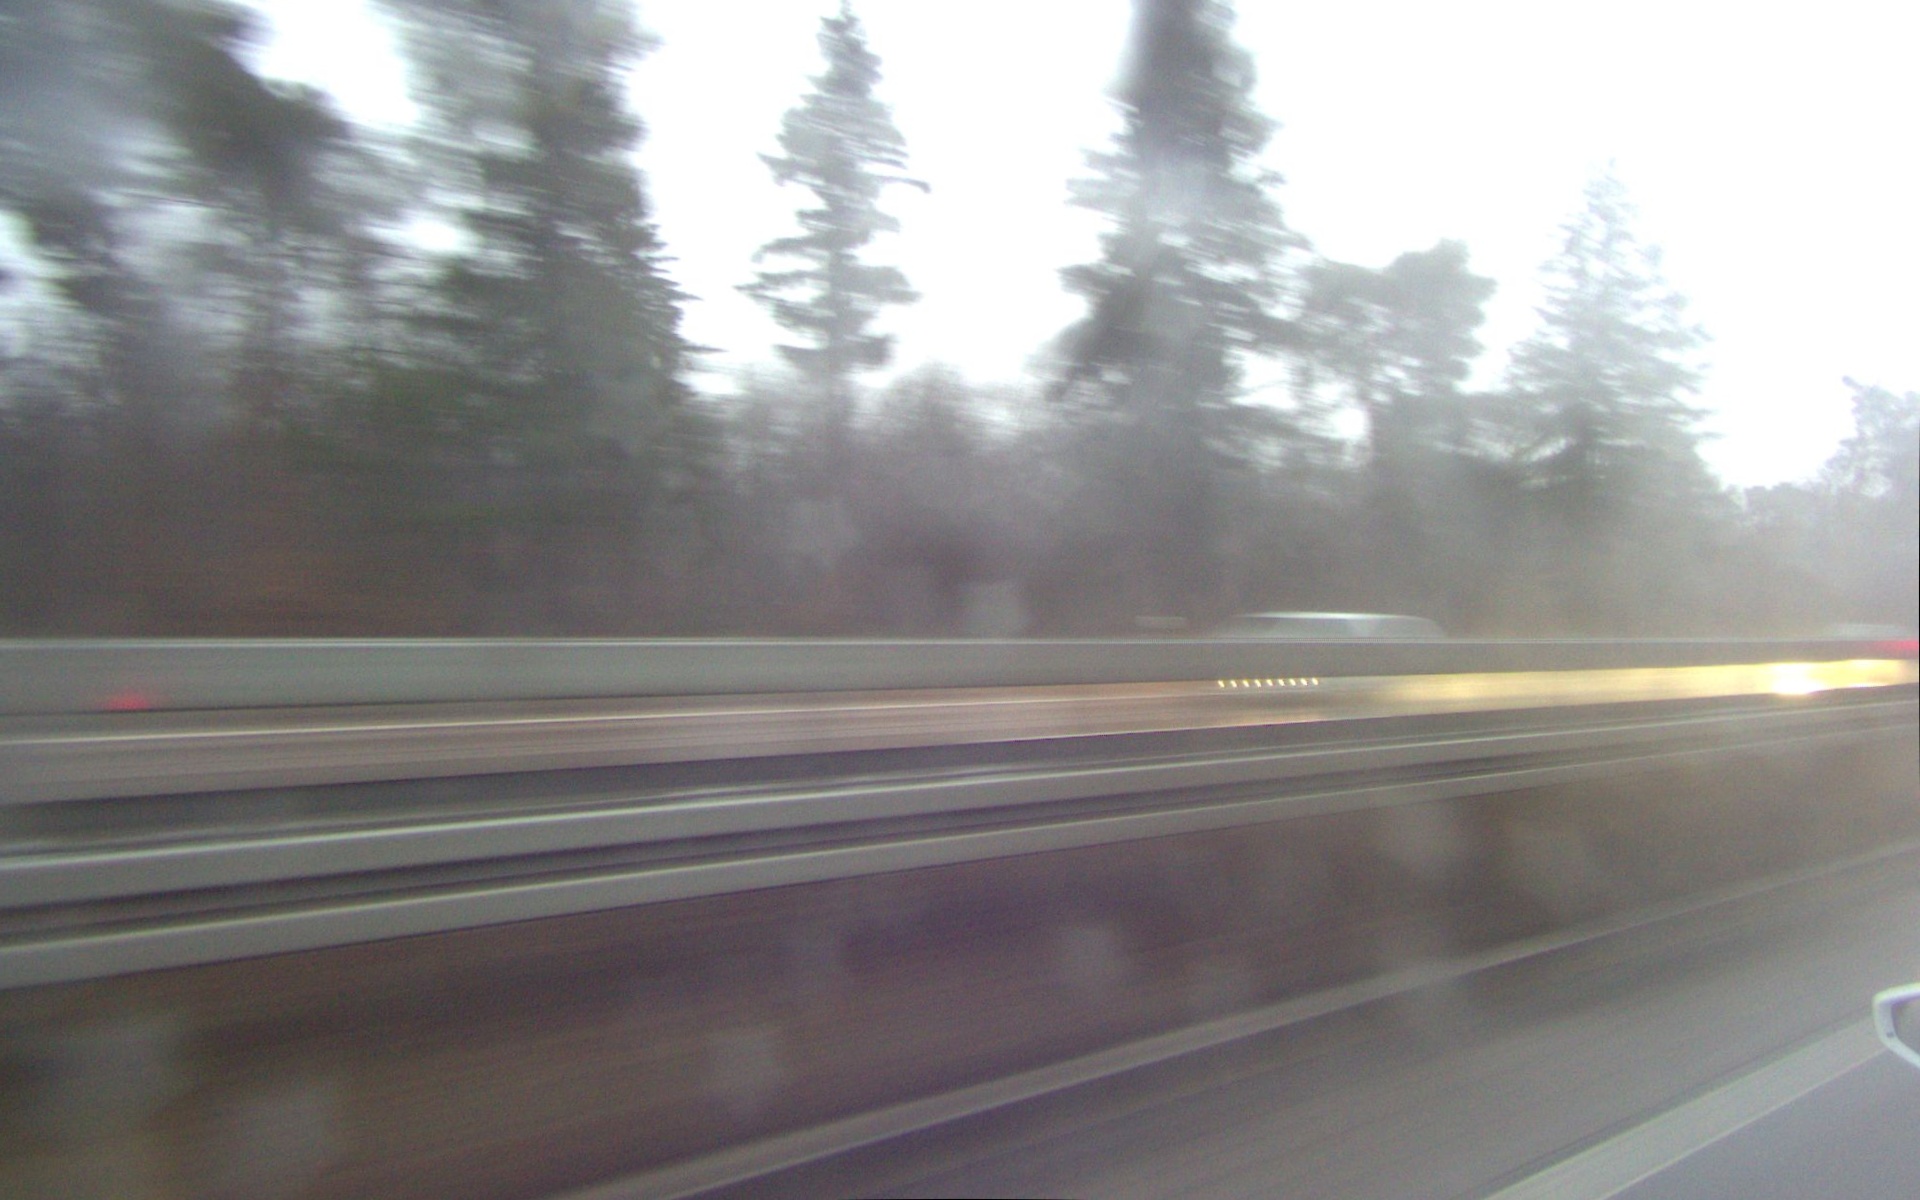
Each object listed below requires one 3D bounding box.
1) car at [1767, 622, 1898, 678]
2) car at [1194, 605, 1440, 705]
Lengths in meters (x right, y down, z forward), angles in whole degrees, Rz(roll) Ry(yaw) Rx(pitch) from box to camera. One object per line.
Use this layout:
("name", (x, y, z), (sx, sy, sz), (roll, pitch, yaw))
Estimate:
("car", (24.139, 1.355, 27.759), (3.938, 1.407, 1.666), (1, 0, -32))
("car", (5.985, 0.855, 16.710), (3.998, 1.460, 1.783), (1, 0, -33))
